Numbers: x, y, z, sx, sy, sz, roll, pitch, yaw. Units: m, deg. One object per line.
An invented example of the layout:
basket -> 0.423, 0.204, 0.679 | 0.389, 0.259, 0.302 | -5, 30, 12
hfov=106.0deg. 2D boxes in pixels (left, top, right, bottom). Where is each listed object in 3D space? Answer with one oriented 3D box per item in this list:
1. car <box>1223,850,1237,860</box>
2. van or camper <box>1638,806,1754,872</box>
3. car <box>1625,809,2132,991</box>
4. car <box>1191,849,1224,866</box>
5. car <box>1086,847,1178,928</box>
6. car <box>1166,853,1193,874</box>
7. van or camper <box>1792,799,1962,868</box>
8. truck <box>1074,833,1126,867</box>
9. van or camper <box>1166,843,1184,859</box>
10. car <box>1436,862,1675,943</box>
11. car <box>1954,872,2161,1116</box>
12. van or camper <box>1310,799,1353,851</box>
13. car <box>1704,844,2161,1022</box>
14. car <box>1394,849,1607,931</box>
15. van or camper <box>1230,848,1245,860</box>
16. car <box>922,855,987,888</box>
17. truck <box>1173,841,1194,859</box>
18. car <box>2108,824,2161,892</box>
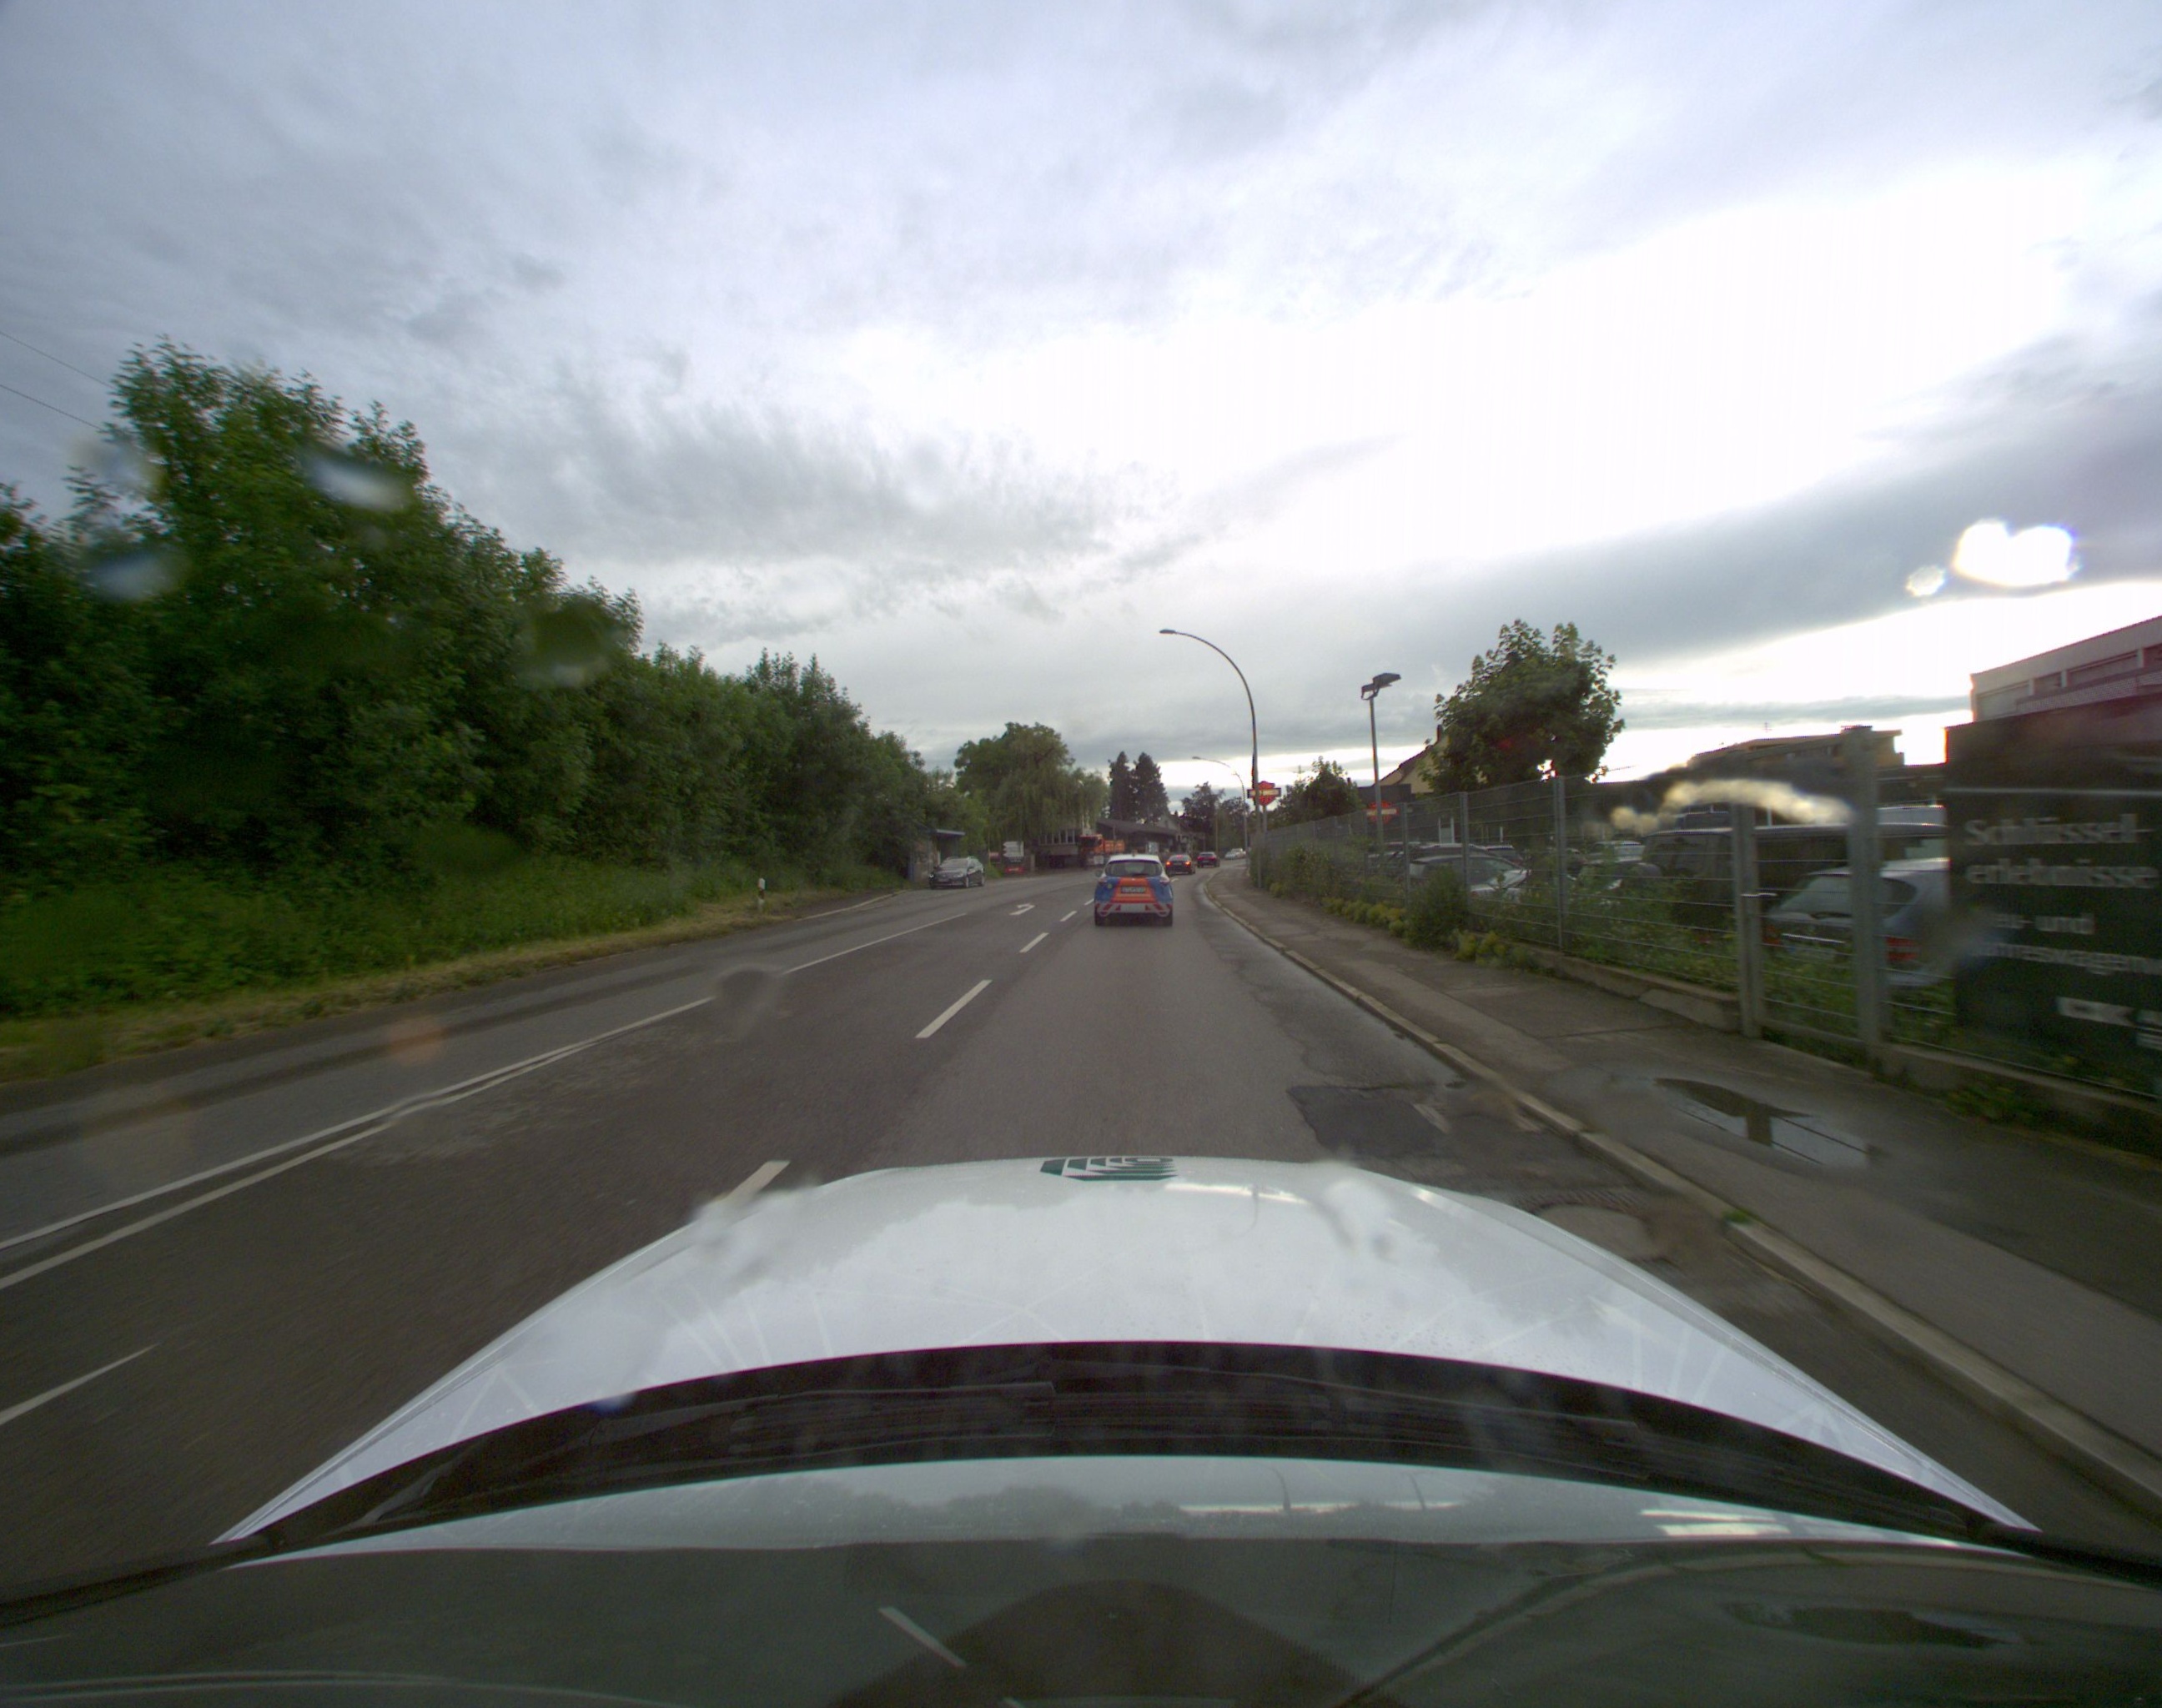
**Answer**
car -> 25.914, 0.228, 141.566 | 1.978, 1.644, 4.018 | -1, 0, 17
van or camper -> 26.273, -0.617, 35.081 | 2.313, 2.557, 5.769 | -2, 0, 20
car -> 9.081, 0.500, 9.600 | 4.117, 1.894, 1.775 | 1, -2, 3
car -> 11.779, 0.326, 75.700 | 1.975, 1.420, 4.023 | -3, -1, 24
car -> 1.204, 0.694, 19.014 | 1.880, 1.632, 4.004 | 2, 0, 4
car -> 6.803, 0.701, 56.551 | 1.712, 1.376, 3.938 | 1, -1, 5
van or camper -> 25.626, -0.551, 26.528 | 1.976, 1.938, 5.458 | 0, -2, 22
truck -> 2.223, -0.341, 88.812 | 2.674, 3.412, 9.118 | 0, -2, 21
van or camper -> 15.650, -0.472, 135.444 | 1.844, 2.437, 5.256 | 1, -1, 17
car -> 9.509, 0.944, 16.579 | 3.886, 1.509, 1.682 | 1, -2, 3
car -> 8.621, 0.842, 5.208 | 3.969, 1.434, 1.828 | -1, 0, 4
van or camper -> 13.779, -1.519, 44.813 | 2.025, 2.593, 6.619 | -2, 0, 17
car -> 8.419, 0.660, 7.450 | 3.964, 1.404, 1.793 | 0, -2, 8
car -> 9.646, 0.824, 18.972 | 4.122, 1.772, 1.617 | 1, -2, 4
van or camper -> 28.359, -0.030, 147.657 | 1.875, 2.013, 5.121 | -1, 0, 18
car -> -6.018, 0.865, 39.362 | 1.984, 1.474, 4.707 | 1, -1, 5
truck -> 17.703, -0.645, 140.823 | 2.375, 2.927, 5.985 | 0, -1, 19
car -> 24.506, 0.105, 16.323 | 4.594, 1.400, 1.729 | 0, -2, 23
